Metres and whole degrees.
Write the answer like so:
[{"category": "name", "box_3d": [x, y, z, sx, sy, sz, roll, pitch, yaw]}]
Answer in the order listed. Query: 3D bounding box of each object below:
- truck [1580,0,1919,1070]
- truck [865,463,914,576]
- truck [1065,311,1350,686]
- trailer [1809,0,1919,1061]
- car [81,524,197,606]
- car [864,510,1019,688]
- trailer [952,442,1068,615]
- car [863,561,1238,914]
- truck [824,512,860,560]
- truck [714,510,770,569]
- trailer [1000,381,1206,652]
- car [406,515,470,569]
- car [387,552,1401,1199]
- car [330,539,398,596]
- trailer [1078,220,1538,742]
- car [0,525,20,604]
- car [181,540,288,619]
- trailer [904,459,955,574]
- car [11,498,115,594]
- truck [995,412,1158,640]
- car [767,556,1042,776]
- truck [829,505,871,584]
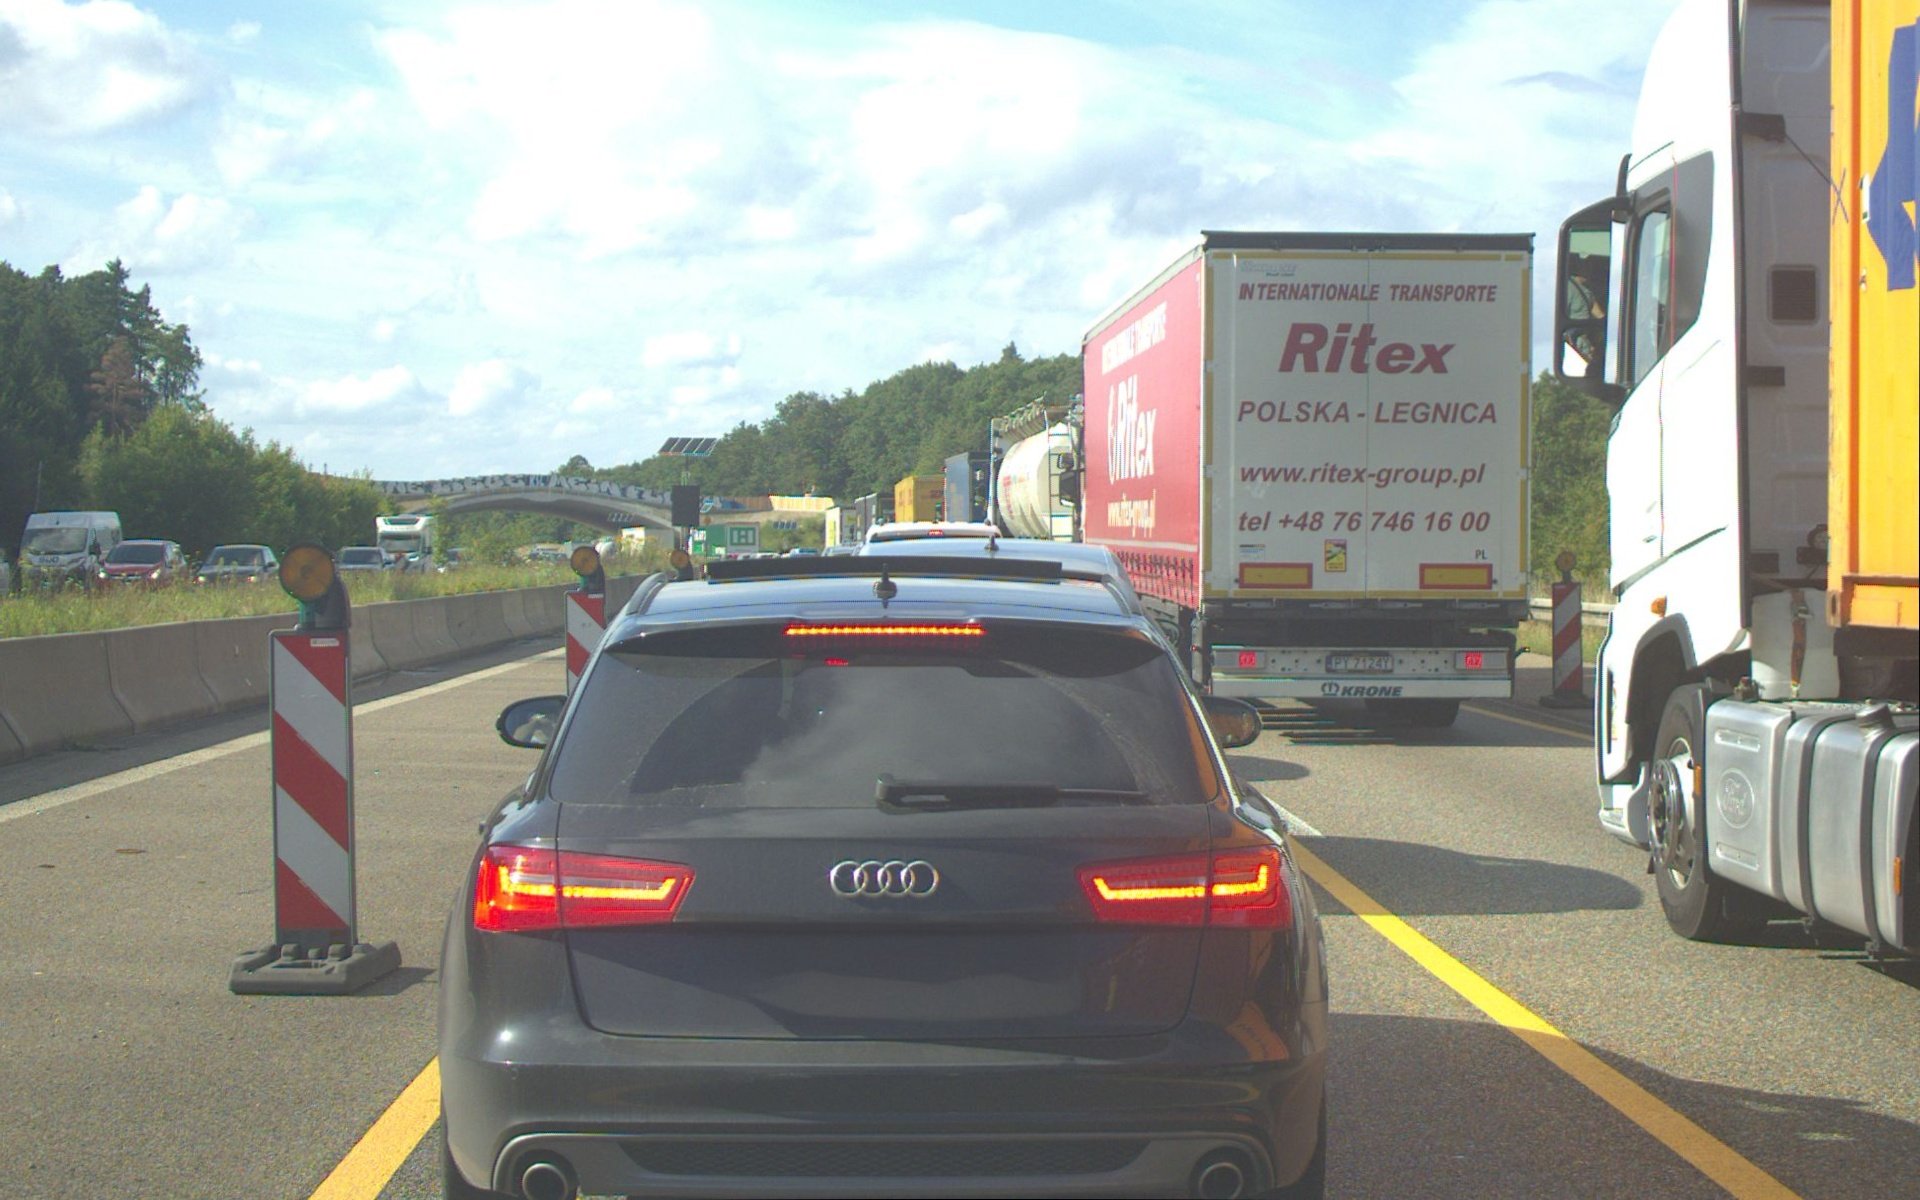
[{"category": "truck", "box_3d": [3.982, -0.534, 11.667, 2.494, 3.767, 5.790, 0, 1, -2]}, {"category": "truck", "box_3d": [-3.183, -3.566, 154.044, 1.993, 4.897, 9.563, 1, 1, -2]}, {"category": "truck", "box_3d": [2.723, -1.125, 39.417, 2.667, 3.946, 5.711, 1, 1, -1]}, {"category": "trailer", "box_3d": [4.196, -0.451, 5.074, 2.471, 3.762, 12.137, 0, 1, -2]}, {"category": "car", "box_3d": [-20.635, -0.899, 86.528, 1.993, 2.007, 4.000, 1, 1, -1]}, {"category": "car", "box_3d": [-0.209, -0.026, 37.412, 1.581, 1.830, 3.112, 1, 0, -1]}, {"category": "trailer", "box_3d": [1.279, -1.886, 93.600, 2.805, 4.398, 10.433, 1, 0, -1]}, {"category": "car", "box_3d": [0.356, 0.553, 15.809, 1.524, 1.434, 3.285, 1, 0, -1]}, {"category": "truck", "box_3d": [-8.783, -4.742, 255.754, 2.566, 3.455, 7.399, 1, 0, -2]}, {"category": "truck", "box_3d": [-16.209, -4.430, 255.417, 3.303, 4.160, 9.704, -1, 0, -8]}, {"category": "trailer", "box_3d": [2.163, -1.308, 56.649, 2.644, 3.929, 12.598, 1, 1, -1]}, {"category": "car", "box_3d": [-22.574, -2.489, 148.856, 1.993, 2.270, 5.130, 1, 0, -1]}, {"category": "car", "box_3d": [-0.142, 0.630, 8.292, 1.848, 1.458, 4.000, 0, 0, -1]}, {"category": "car", "box_3d": [-17.725, -0.974, 102.308, 1.482, 1.647, 3.234, 1, 0, -1]}, {"category": "trailer", "box_3d": [2.892, -1.020, 32.982, 2.699, 3.955, 13.418, 1, 1, -1]}, {"category": "car", "box_3d": [-25.477, -0.916, 87.584, 1.993, 2.007, 4.000, 1, 0, -1]}, {"category": "car", "box_3d": [-17.465, -0.493, 82.874, 1.799, 1.843, 3.810, 1, 0, -1]}, {"category": "trailer", "box_3d": [-1.099, -2.889, 120.575, 1.616, 3.905, 6.490, 1, 0, -1]}, {"category": "car", "box_3d": [-25.392, -1.519, 97.439, 2.250, 2.634, 5.021, 1, 0, -8]}, {"category": "truck", "box_3d": [2.070, -1.323, 63.114, 2.659, 3.958, 5.779, 1, 0, -1]}, {"category": "car", "box_3d": [-0.377, 0.409, 23.971, 1.751, 1.392, 3.608, 1, 0, -1]}, {"category": "truck", "box_3d": [-6.040, -3.040, 188.870, 2.137, 4.243, 7.072, 1, 0, -1]}]
